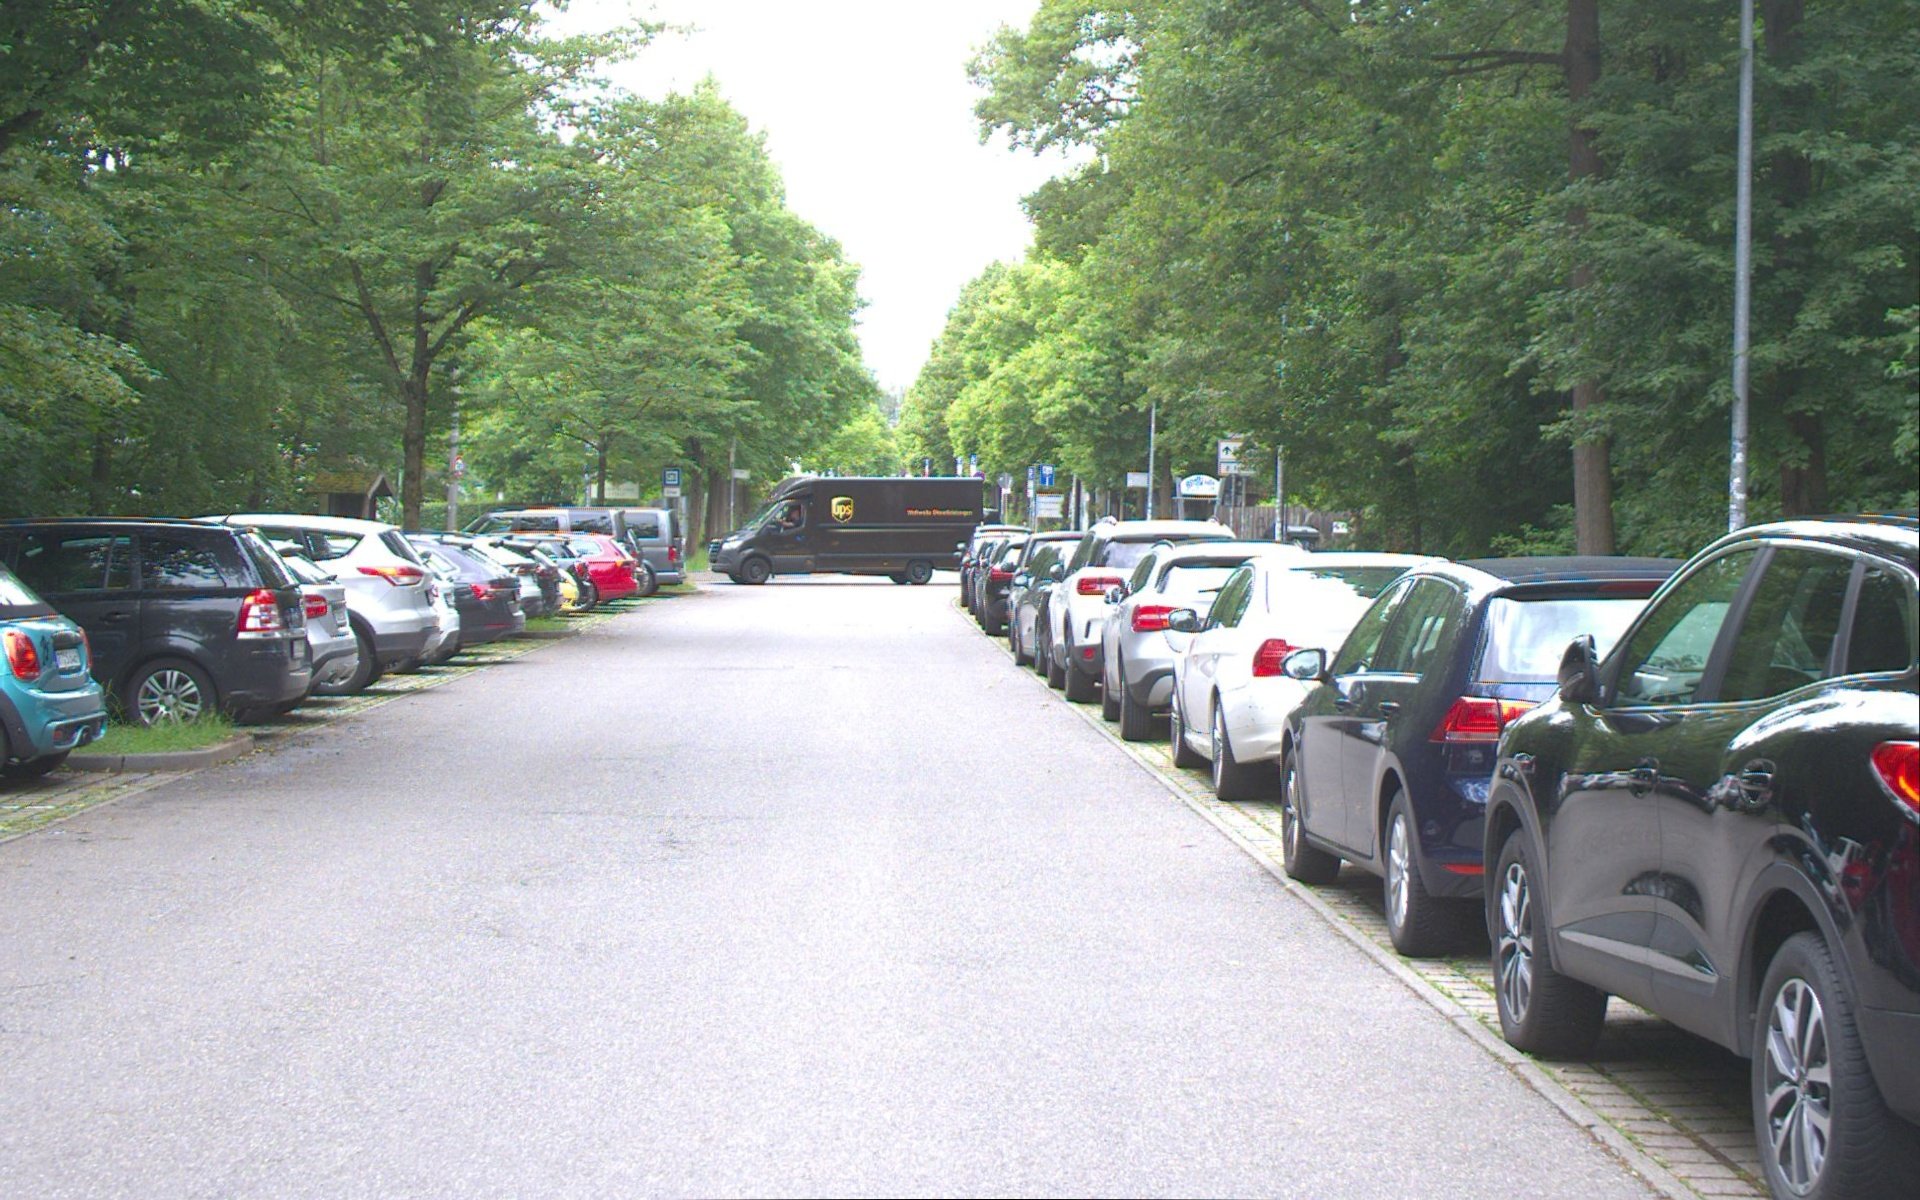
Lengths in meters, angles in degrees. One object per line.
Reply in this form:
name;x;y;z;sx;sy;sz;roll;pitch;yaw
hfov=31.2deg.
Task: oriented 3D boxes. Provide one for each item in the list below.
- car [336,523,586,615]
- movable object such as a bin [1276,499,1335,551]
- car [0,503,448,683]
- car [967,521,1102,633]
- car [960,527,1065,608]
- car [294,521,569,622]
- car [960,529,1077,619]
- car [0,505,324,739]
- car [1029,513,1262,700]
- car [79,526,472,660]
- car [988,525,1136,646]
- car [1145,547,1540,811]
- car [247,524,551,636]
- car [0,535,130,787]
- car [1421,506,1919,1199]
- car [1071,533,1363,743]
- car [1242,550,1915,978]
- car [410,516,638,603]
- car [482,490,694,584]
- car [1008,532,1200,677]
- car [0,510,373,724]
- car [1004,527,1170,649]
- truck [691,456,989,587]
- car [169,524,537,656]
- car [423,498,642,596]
car;-8.418;-0.529;58.194;3.987;1.433;1.618;1;1;-1
movable object such as a bin;9.834;-2.128;97.804;1.282;1.437;1.078;0;1;-45
car;-6.965;-0.087;32.696;3.986;1.656;1.815;0;1;-3
car;1.089;-0.382;52.318;1.736;1.583;4.383;1;1;-2
car;0.947;-0.637;64.466;1.736;1.427;4.502;1;1;-2
car;-8.132;-0.446;53.148;3.987;1.433;1.715;1;1;-1
car;0.943;-0.464;57.658;1.736;1.427;4.502;1;1;-2
car;-6.832;0.145;25.389;3.986;1.656;1.696;0;1;-3
car;1.694;0.006;33.023;1.736;1.638;5.073;1;1;-2
car;-7.488;-0.092;37.836;3.987;1.430;1.648;0;1;1
car;1.372;-0.236;47.660;1.736;1.562;4.009;1;1;-2
car;2.224;0.402;21.109;1.736;1.402;4.428;1;1;-2
car;-7.831;-0.288;48.223;3.986;1.462;1.715;1;1;-2
car;-7.198;0.348;20.652;3.987;1.443;1.696;0;1;2
car;2.550;0.563;8.751;1.838;1.554;4.425;1;1;-4
car;1.935;0.229;27.185;1.736;1.474;4.770;1;1;-2
car;2.340;0.538;14.290;1.736;1.430;4.746;1;1;-2
car;-7.940;-0.753;62.874;3.986;1.471;1.780;1;1;-3
car;-8.129;-1.382;75.406;4.502;1.971;1.891;1;0;-2
car;1.548;0.000;38.437;1.736;1.469;4.606;1;1;-2
car;-6.906;0.120;27.857;3.987;1.656;1.814;0;1;-1
car;1.545;-0.187;43.175;1.736;1.420;4.155;1;1;-2
truck;-3.175;-2.019;89.719;7.245;3.225;3.442;1;0;-12
car;-7.060;-0.133;40.212;3.987;1.430;1.677;1;1;1
car;-8.132;-1.016;65.618;3.986;1.856;1.813;0;1;-1
